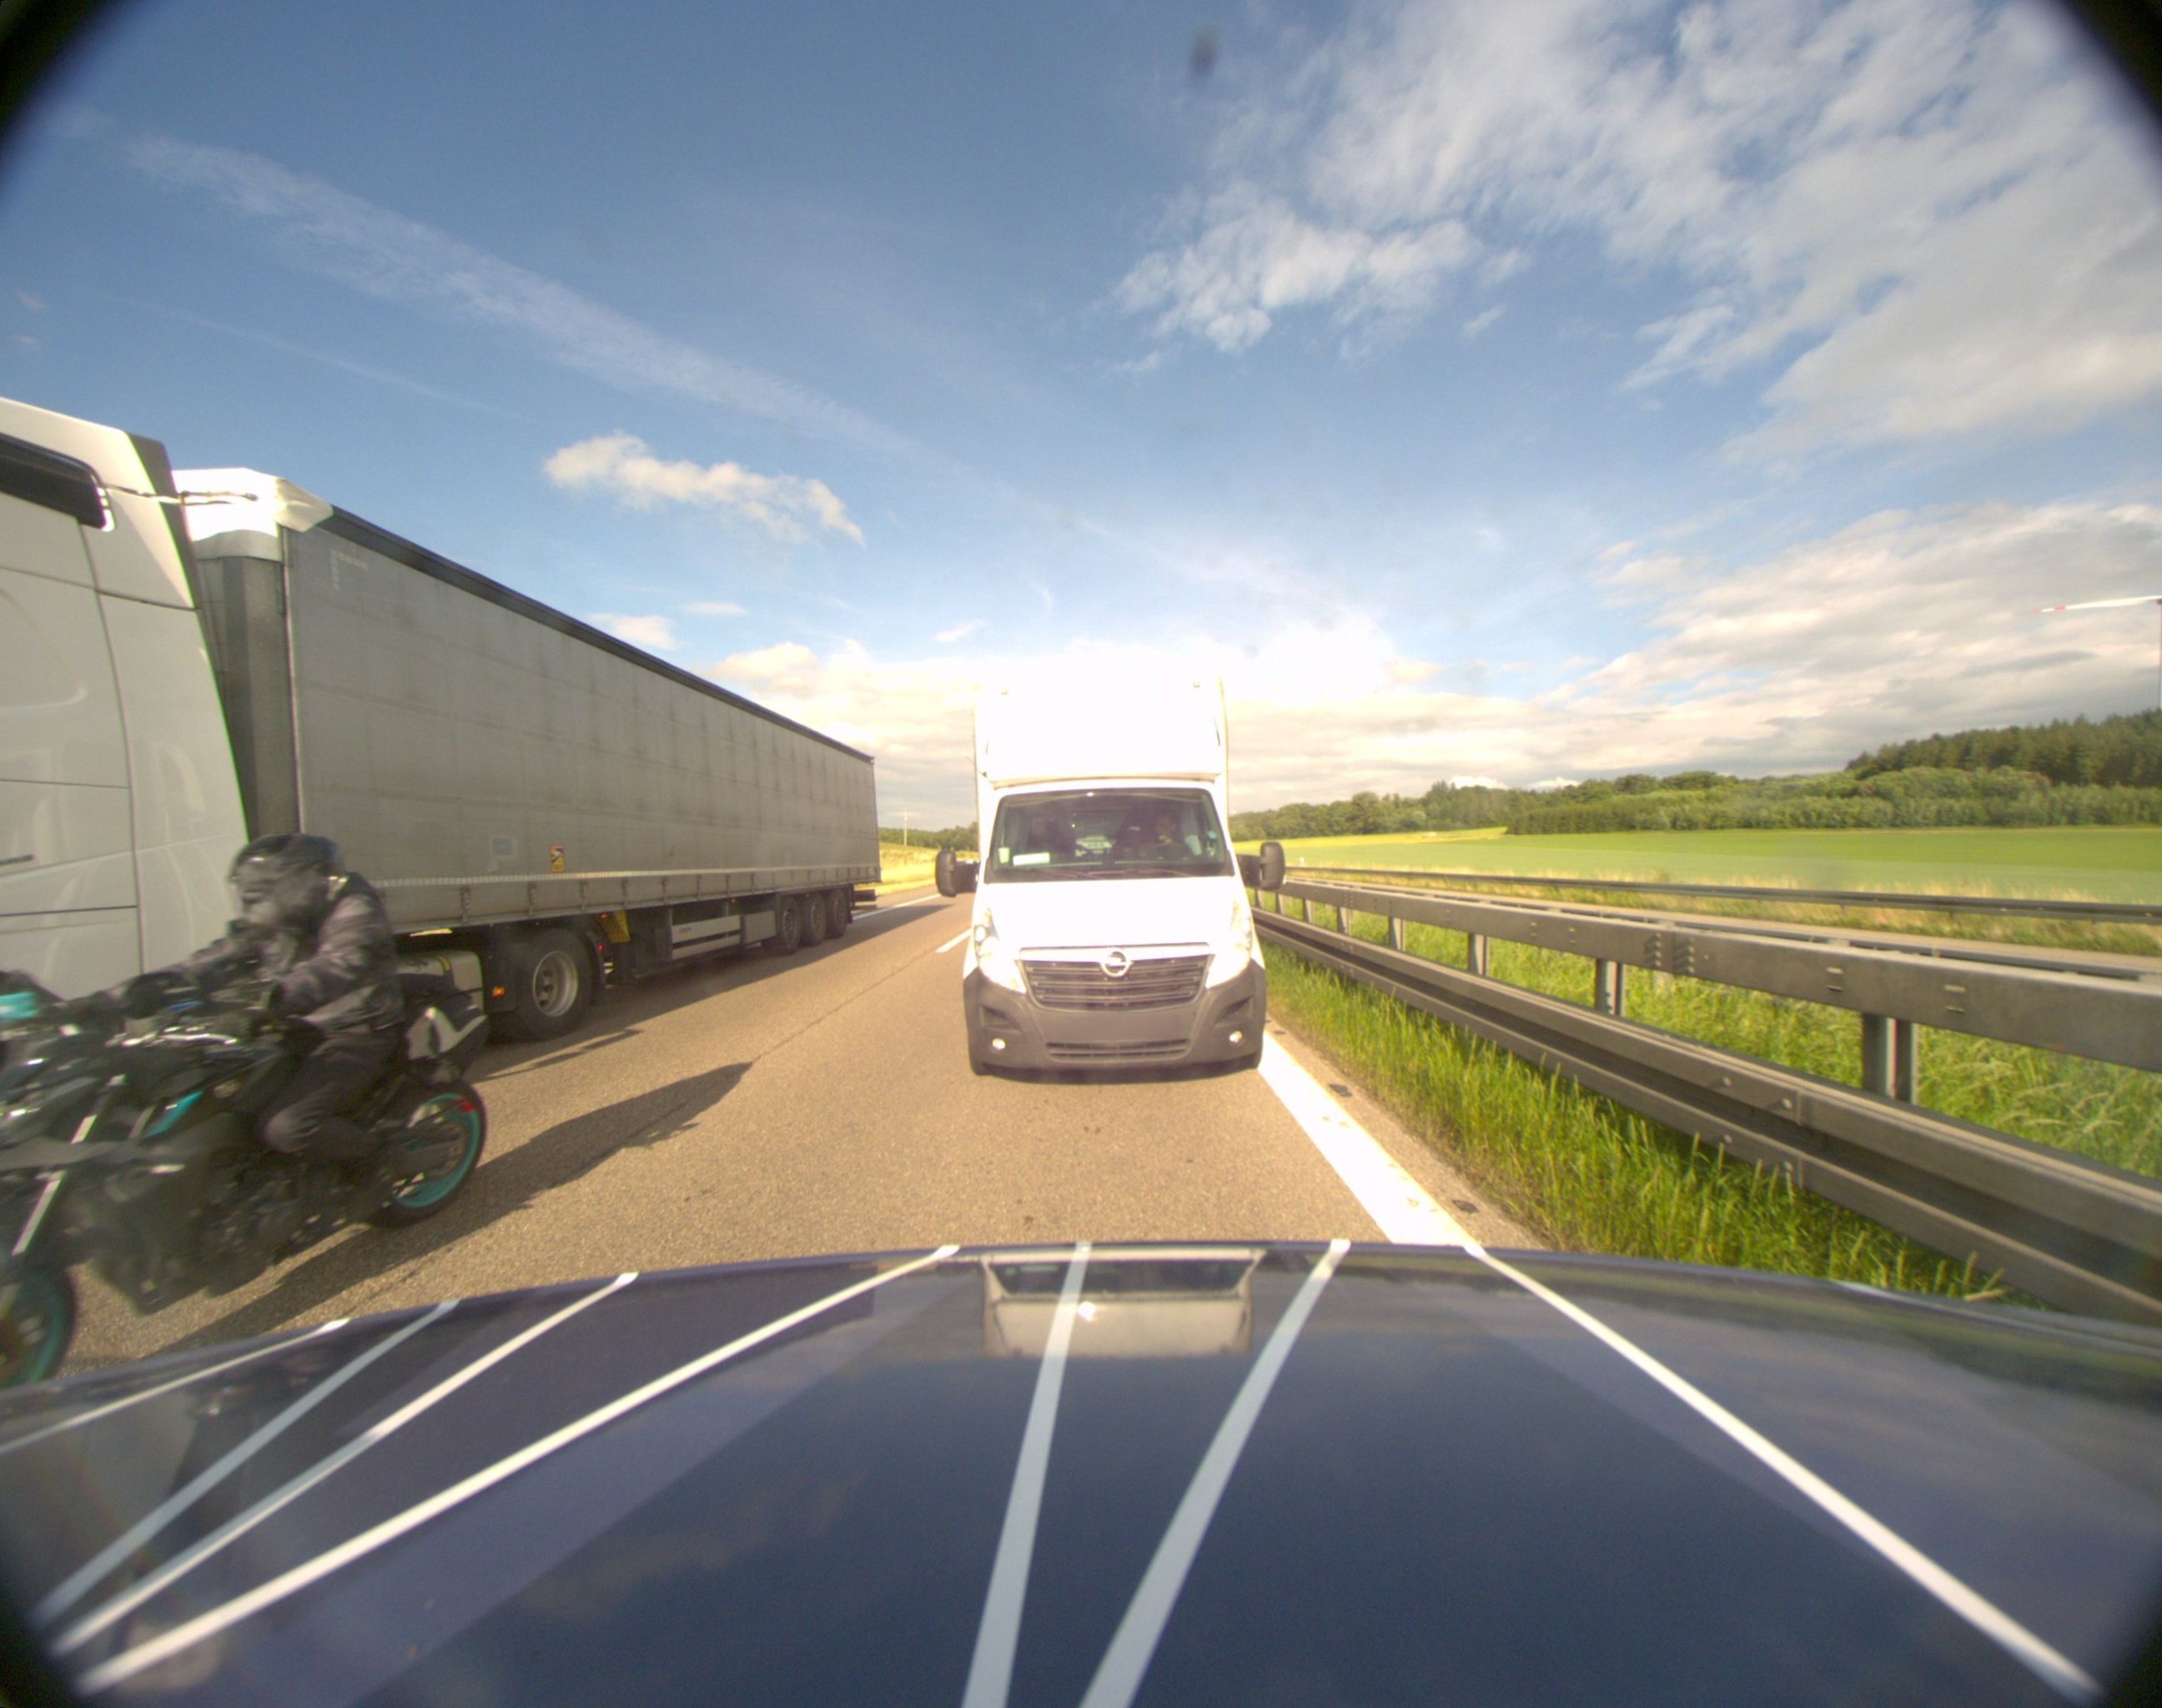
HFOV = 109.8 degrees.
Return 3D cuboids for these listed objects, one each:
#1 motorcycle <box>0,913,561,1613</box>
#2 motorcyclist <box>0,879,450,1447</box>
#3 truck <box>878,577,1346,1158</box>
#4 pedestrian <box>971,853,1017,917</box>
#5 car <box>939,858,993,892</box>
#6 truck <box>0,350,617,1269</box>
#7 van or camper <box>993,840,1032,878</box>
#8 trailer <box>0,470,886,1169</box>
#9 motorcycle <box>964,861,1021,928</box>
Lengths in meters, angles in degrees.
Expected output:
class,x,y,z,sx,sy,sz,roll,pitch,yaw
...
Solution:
class,x,y,z,sx,sy,sz,roll,pitch,yaw
motorcycle,-2.887,1.011,2.468,0.897,1.447,1.983,-1,1,4
motorcyclist,-2.889,0.836,2.448,0.897,1.447,0.892,-1,1,4
truck,0.163,0.088,9.765,2.502,3.141,11.162,-1,0,0
pedestrian,-2.067,0.721,18.159,0.897,1.447,0.984,-1,1,4
car,-5.505,0.972,36.917,1.871,1.409,4.461,-1,1,1
truck,-6.020,-0.190,4.549,2.607,4.017,6.119,-1,1,0
van or camper,-4.828,0.301,54.571,2.102,2.530,6.412,-1,1,1
trailer,-6.013,-0.213,11.259,2.623,4.017,13.697,-1,0,0
motorcycle,-2.068,0.916,18.123,0.897,1.447,2.269,-1,1,4
